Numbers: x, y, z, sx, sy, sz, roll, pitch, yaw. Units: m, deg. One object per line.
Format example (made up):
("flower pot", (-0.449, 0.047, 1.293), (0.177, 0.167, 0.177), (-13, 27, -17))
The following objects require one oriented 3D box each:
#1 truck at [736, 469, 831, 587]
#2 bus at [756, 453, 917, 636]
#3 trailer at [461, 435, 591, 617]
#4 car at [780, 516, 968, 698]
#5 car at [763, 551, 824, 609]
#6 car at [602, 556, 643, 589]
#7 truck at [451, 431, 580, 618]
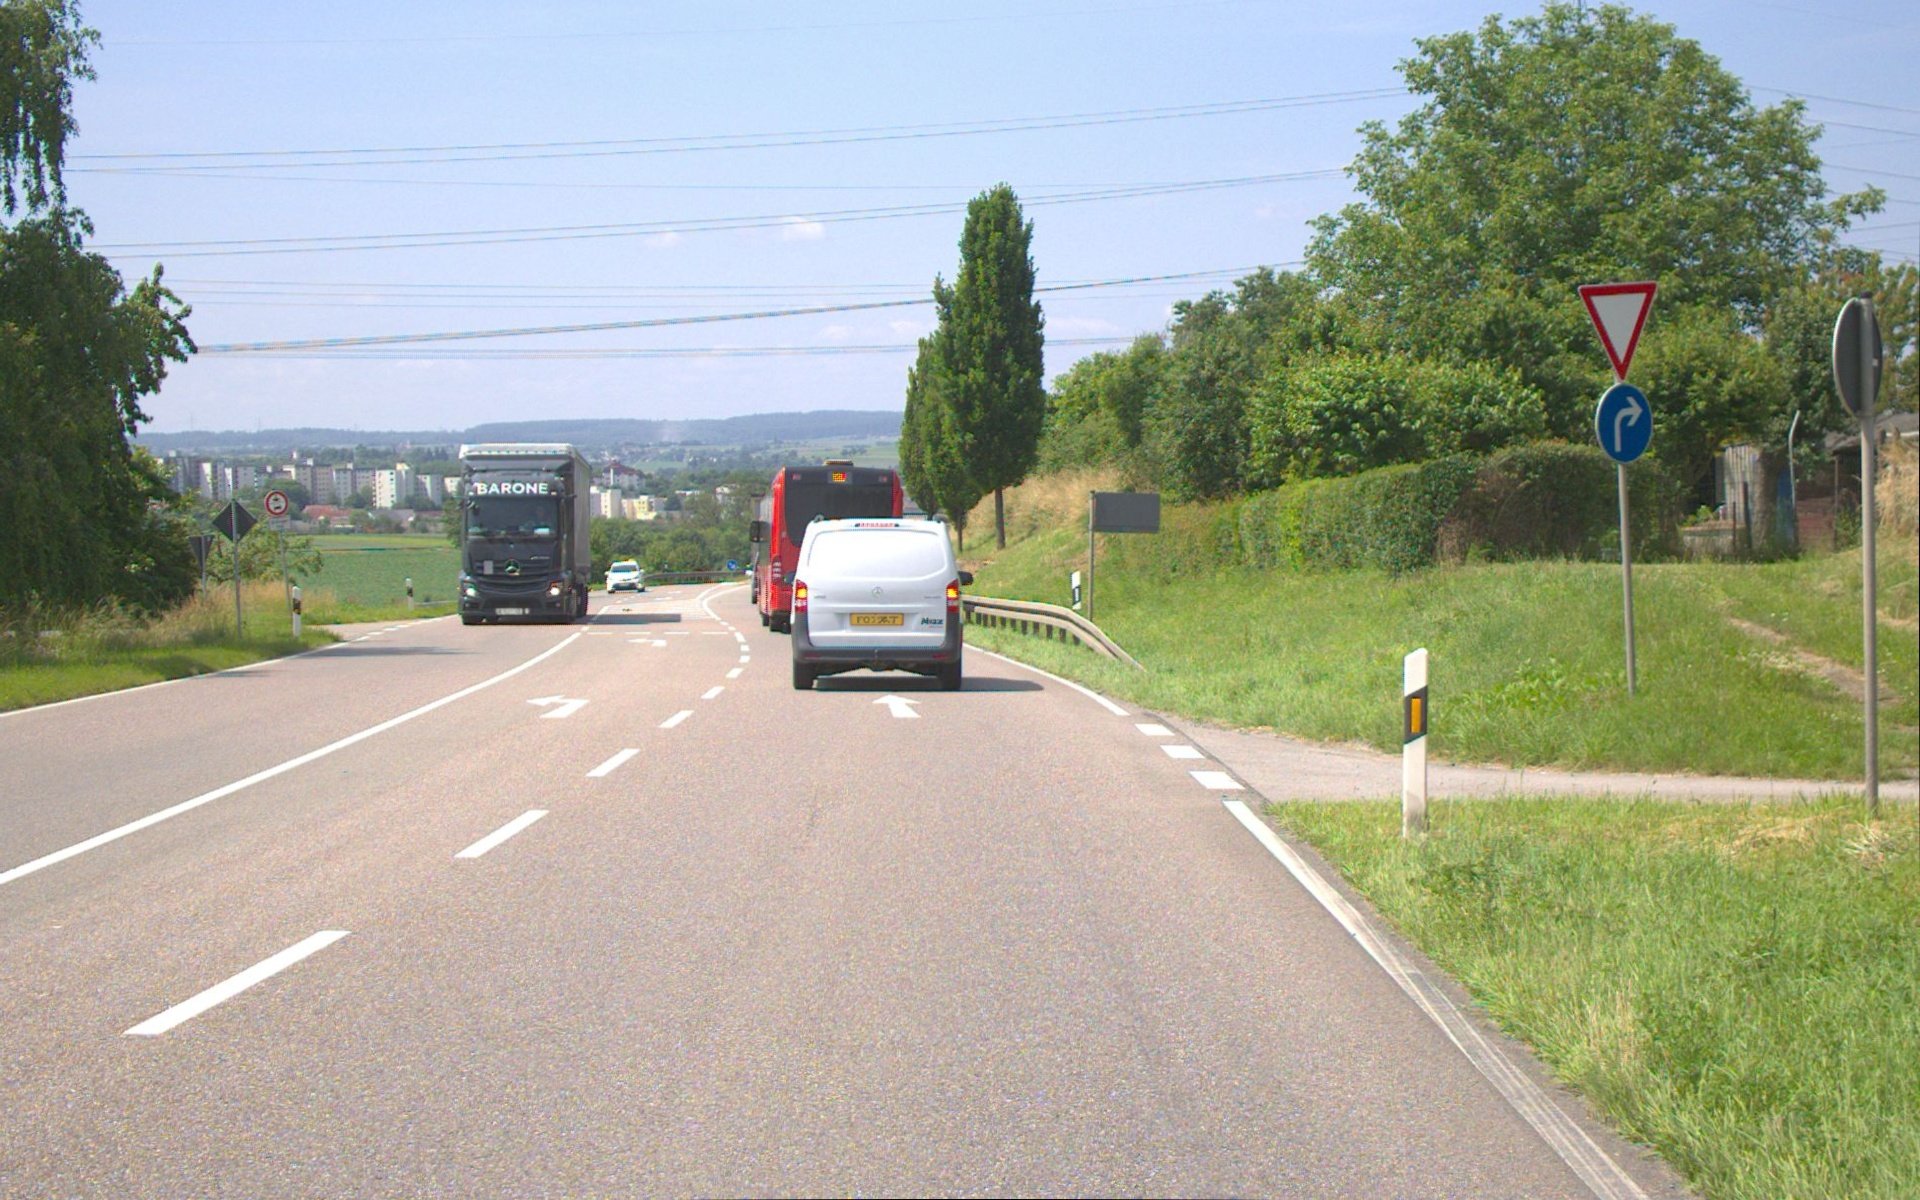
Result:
("truck", (-7.081, -2.904, 139.253), (3.488, 4.408, 14.904), (-2, 1, -2))
("bus", (-2.743, -1.341, 72.174), (2.747, 3.341, 13.225), (-3, 3, -4))
("trailer", (-10.632, -1.792, 85.289), (2.592, 4.128, 13.743), (-1, 1, -5))
("car", (-0.921, 0.026, 38.941), (1.923, 1.883, 4.000), (-2, 1, 1))
("car", (-5.474, -0.681, 113.304), (1.885, 1.810, 3.765), (-2, 1, -1))
("car", (-17.360, -1.422, 177.058), (1.853, 1.560, 4.075), (-2, 1, -3))
("truck", (-10.082, -1.704, 78.410), (2.585, 4.090, 5.443), (-1, 1, -4))
